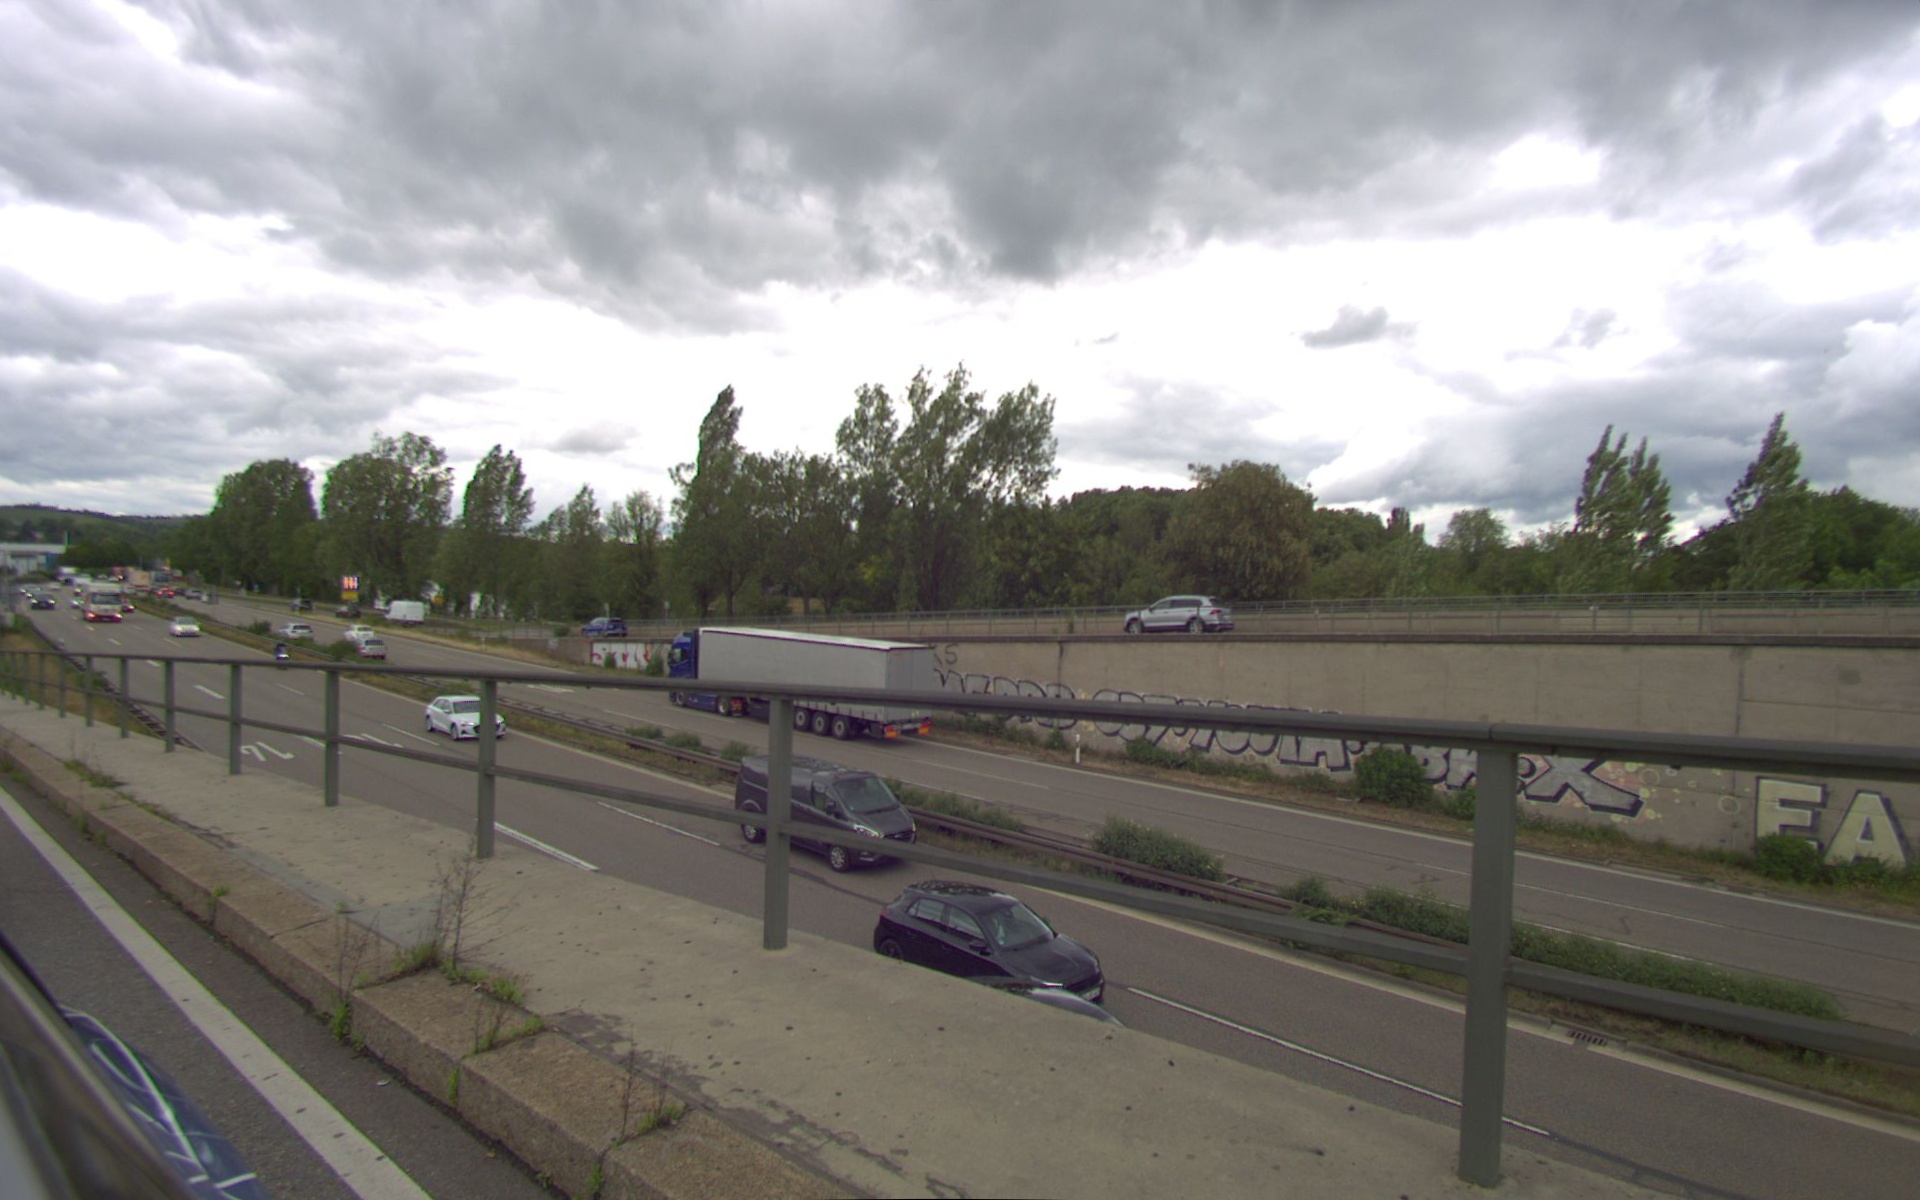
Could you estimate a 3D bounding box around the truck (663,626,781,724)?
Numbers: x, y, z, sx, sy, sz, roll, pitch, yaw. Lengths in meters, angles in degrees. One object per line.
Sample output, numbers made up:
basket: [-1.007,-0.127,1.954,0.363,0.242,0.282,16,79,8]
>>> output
truck: [-11.707,3.507,49.511,5.937,4.170,2.756,3,1,43]

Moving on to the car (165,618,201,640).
car: [-62.504,2.323,81.390,3.608,1.544,1.674,2,1,43]

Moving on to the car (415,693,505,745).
car: [-19.313,4.515,39.004,4.415,1.432,1.600,2,0,42]

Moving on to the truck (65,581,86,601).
truck: [-142.980,-1.522,163.608,2.207,3.031,7.239,1,1,-43]

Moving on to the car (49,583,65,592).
car: [-169.865,-2.284,190.382,3.335,1.539,1.746,2,0,41]

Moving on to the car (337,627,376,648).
car: [-48.188,3.017,80.826,4.002,1.431,1.660,3,0,44]

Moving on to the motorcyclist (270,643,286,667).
motorcyclist: [-40.131,3.236,59.559,0.762,1.382,0.587,2,1,42]

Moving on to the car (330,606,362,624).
car: [-72.807,1.770,120.002,4.562,1.831,1.861,2,-3,42]

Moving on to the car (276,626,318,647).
car: [-52.752,2.872,80.511,4.002,1.431,1.971,2,-3,45]

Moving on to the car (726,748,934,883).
car: [-3.211,4.974,24.105,5.254,2.029,1.972,2,1,42]

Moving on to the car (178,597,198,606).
car: [-124.952,0.208,163.830,4.002,1.431,1.971,2,1,44]

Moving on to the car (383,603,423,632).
car: [-58.090,1.816,105.545,5.180,2.669,1.972,2,-3,42]

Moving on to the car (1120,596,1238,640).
car: [8.921,0.727,41.414,4.375,1.664,1.873,-1,0,41]

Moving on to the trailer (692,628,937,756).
trailer: [-6.927,3.735,45.006,13.767,4.170,2.756,3,1,43]

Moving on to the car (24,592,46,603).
car: [-128.548,-0.360,140.577,4.126,1.461,1.804,2,0,41]

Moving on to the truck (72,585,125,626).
truck: [-82.035,0.455,96.292,9.877,3.552,2.849,2,-1,45]

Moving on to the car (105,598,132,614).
car: [-93.644,0.620,112.605,4.183,1.590,1.810,3,2,43]

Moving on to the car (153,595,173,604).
car: [-129.473,-0.126,164.375,4.002,1.431,1.971,2,1,44]

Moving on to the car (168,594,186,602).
car: [-140.058,-0.389,180.954,4.002,1.431,1.971,2,1,44]

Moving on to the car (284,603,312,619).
car: [-86.930,1.426,132.836,4.562,1.831,1.861,2,-3,42]

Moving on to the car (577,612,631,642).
car: [-26.665,2.000,75.647,1.970,1.914,4.587,6,-3,-44]

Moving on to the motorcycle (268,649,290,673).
motorcycle: [-40.063,3.582,59.496,2.126,1.212,0.587,2,1,43]

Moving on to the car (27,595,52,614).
car: [-102.132,0.474,112.246,1.970,1.853,4.430,2,1,-43]

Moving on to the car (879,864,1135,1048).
car: [0.653,5.439,15.935,3.833,1.484,1.635,2,1,41]

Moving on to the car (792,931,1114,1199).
car: [-0.191,5.470,12.441,3.833,1.484,1.635,2,1,41]

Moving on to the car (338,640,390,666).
car: [-40.100,3.536,68.055,4.002,1.431,1.971,2,-3,45]

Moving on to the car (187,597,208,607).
car: [-113.460,0.280,150.569,4.002,1.431,1.971,2,1,44]
